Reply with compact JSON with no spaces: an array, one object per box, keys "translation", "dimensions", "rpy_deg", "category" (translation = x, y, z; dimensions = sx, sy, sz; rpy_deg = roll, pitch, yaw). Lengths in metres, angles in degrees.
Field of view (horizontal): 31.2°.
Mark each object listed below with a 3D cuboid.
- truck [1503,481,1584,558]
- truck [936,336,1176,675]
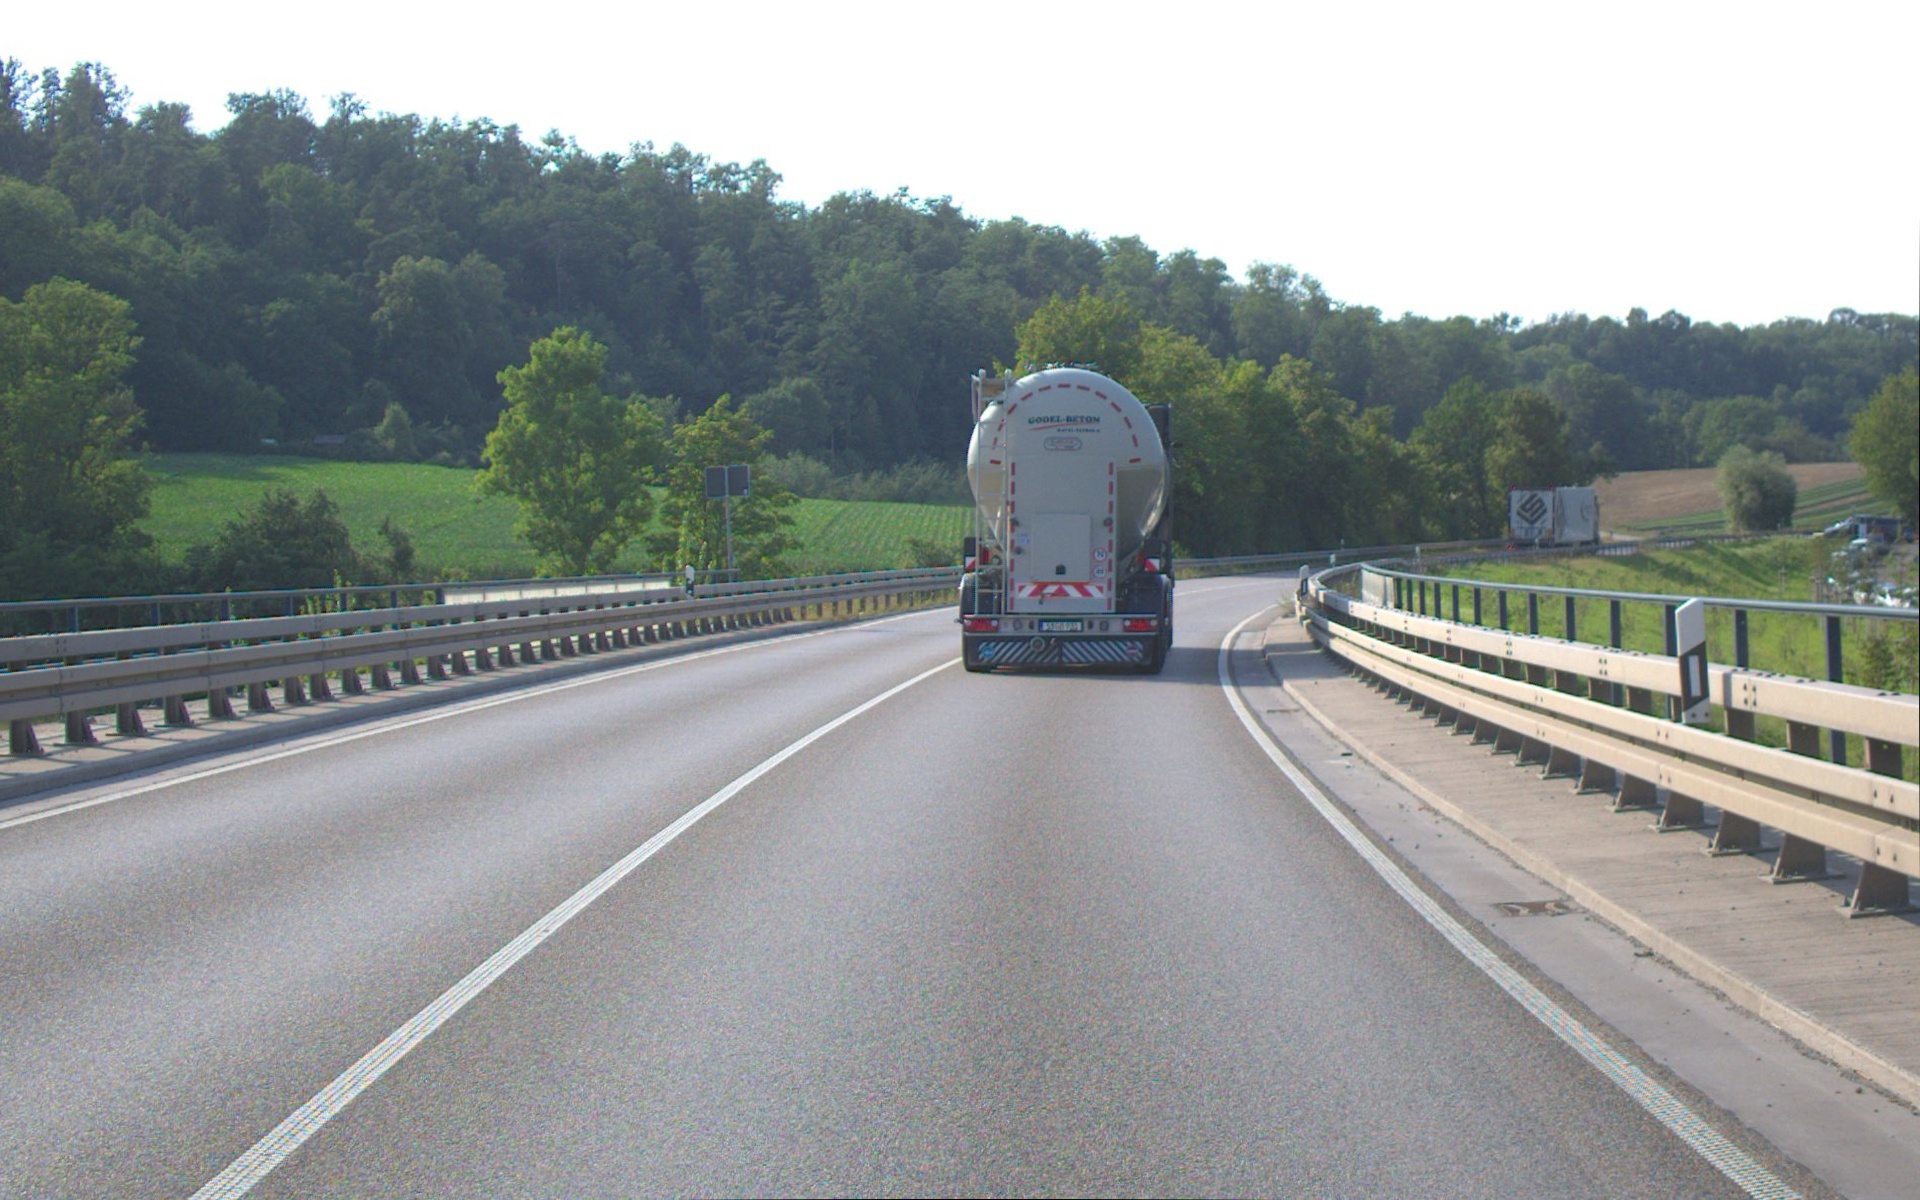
[{"translation":[33.790,-4.744,198.716],"dimensions":[3.186,4.213,13.163],"rpy_deg":[0,2,16],"category":"truck"},{"translation":[1.494,-1.253,48.780],"dimensions":[2.893,4.128,13.171],"rpy_deg":[1,1,3],"category":"truck"}]
